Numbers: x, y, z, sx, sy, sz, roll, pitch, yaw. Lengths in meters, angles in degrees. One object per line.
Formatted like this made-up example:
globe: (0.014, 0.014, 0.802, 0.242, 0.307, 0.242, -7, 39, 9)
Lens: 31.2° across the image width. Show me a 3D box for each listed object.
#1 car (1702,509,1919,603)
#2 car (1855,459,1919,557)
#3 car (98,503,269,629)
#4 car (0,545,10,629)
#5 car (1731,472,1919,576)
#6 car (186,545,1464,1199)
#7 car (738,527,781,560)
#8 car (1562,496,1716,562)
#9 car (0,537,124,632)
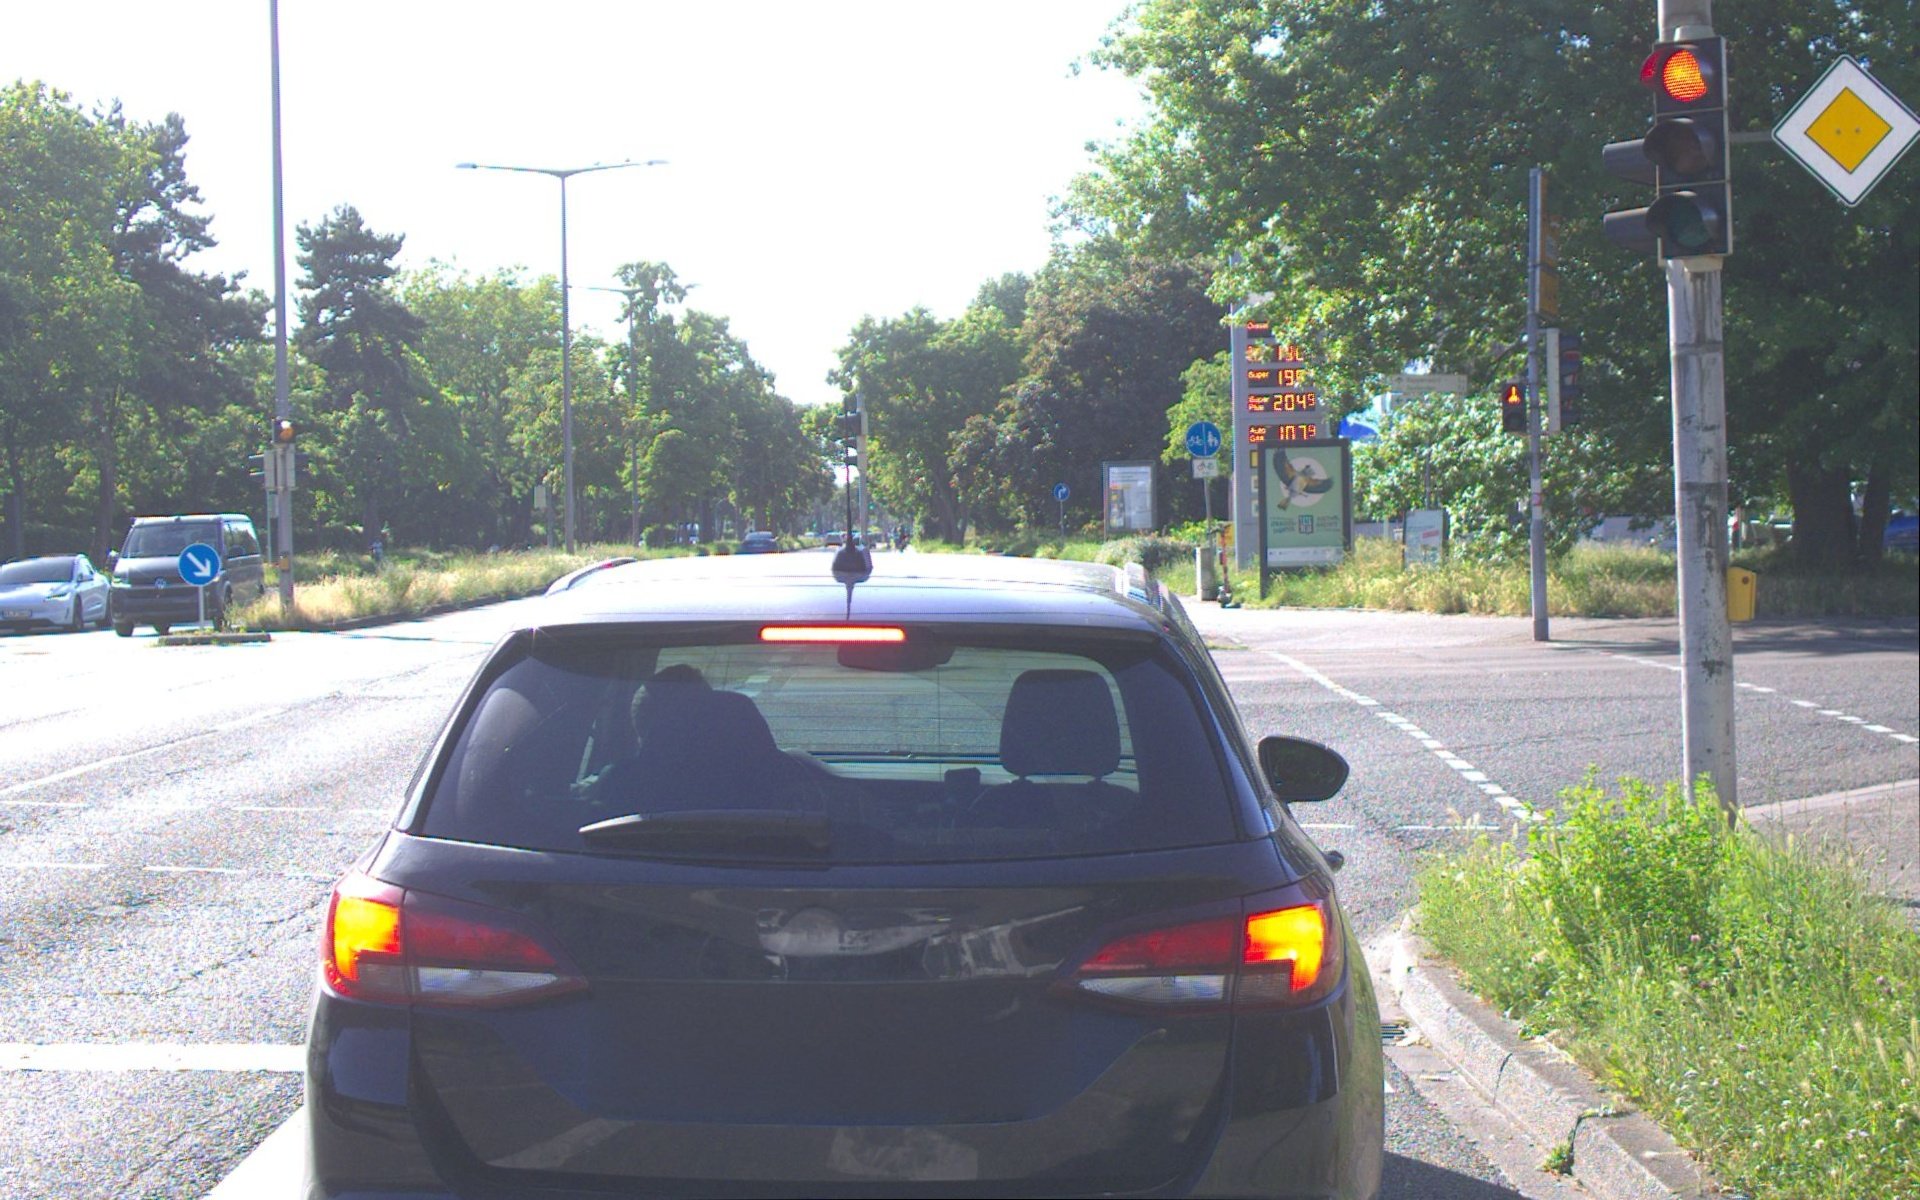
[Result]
car: (16.104, -0.822, 64.959, 3.711, 1.679, 1.704, 1, 0, -3)
car: (16.820, -1.471, 56.725, 3.836, 1.558, 1.805, 1, 1, -32)
car: (-13.025, -0.575, 57.886, 1.993, 2.007, 4.000, 1, 1, -1)
car: (-20.800, -0.260, 69.728, 1.993, 1.744, 4.000, 1, 1, -1)
car: (15.267, -1.283, 59.004, 3.711, 1.679, 1.704, 1, 1, -27)
car: (-0.211, 0.659, 6.641, 1.755, 1.504, 3.809, 0, 1, -1)
car: (-9.742, -2.757, 167.437, 1.888, 1.547, 4.000, -1, 1, -1)
car: (18.186, -1.898, 92.191, 3.711, 1.679, 1.704, 1, 0, -3)
car: (-16.865, -0.299, 63.563, 1.864, 1.678, 4.000, -1, 1, 0)
